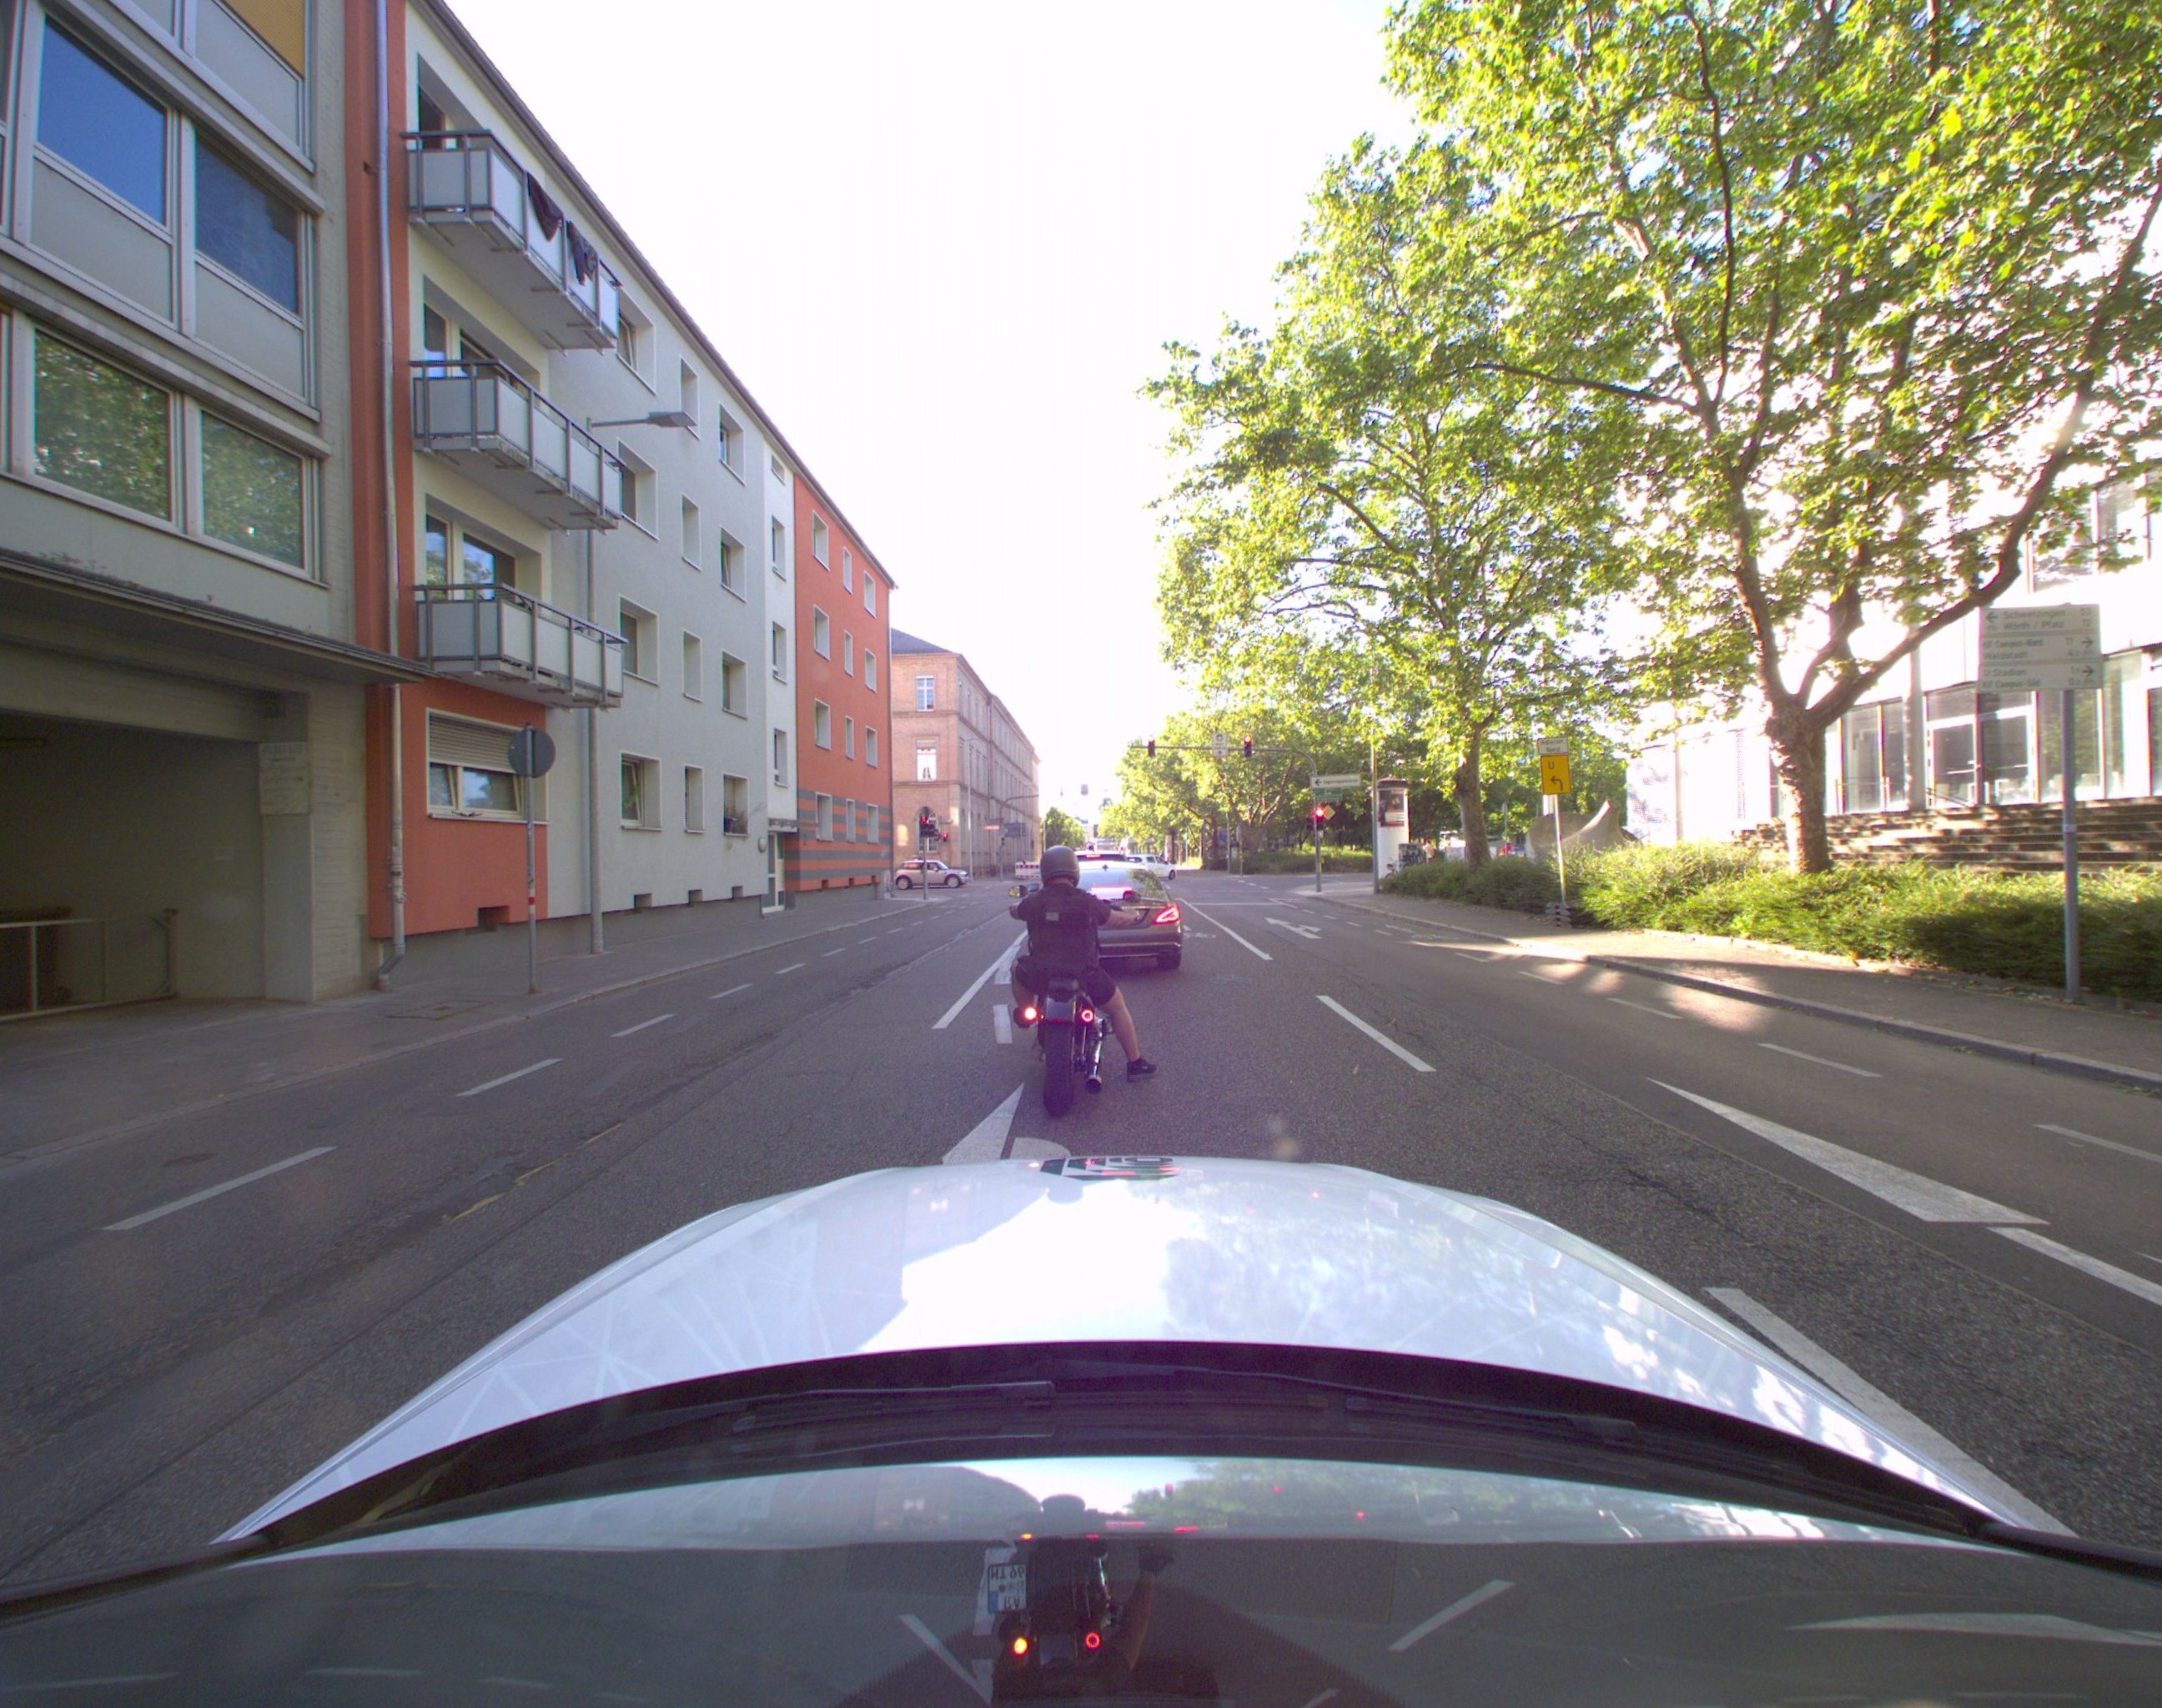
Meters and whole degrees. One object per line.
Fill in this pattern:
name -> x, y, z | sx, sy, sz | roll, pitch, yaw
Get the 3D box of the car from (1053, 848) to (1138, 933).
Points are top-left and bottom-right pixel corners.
car -> 0.322, 0.711, 17.892 | 1.606, 1.607, 4.329 | -1, 0, 1

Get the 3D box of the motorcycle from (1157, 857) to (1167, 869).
motorcycle -> 8.572, 0.970, 85.915 | 0.835, 1.245, 2.284 | -1, 0, 2

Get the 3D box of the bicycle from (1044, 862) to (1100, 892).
bicycle -> -0.368, 0.915, 32.089 | 2.135, 1.103, 0.710 | -3, -1, 36

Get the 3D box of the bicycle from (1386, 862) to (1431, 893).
bicycle -> 11.016, 0.794, 27.409 | 1.346, 1.023, 0.363 | -1, 0, 2

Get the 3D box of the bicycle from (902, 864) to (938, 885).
bicycle -> -8.967, 1.153, 45.371 | 1.829, 1.105, 0.611 | -1, 0, -3

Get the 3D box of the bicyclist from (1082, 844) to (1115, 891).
bicyclist -> 0.641, 0.492, 29.716 | 0.709, 1.692, 0.954 | -1, 0, -37

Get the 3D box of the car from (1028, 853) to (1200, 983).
car -> 0.258, 0.747, 11.722 | 1.943, 1.473, 4.355 | -1, 0, -5

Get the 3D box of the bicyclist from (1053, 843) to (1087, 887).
bicyclist -> -0.431, 0.443, 32.132 | 1.034, 1.695, 0.710 | -3, -1, 36

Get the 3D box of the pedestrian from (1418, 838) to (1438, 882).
pedestrian -> 14.916, 0.245, 35.010 | 0.549, 1.849, 0.594 | -1, 0, 3

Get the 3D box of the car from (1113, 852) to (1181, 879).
car -> 3.736, 0.629, 45.709 | 1.838, 1.486, 3.932 | -1, -1, 42

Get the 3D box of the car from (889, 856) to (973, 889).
car -> -7.500, 0.919, 40.935 | 3.887, 1.481, 1.825 | -2, 0, -4

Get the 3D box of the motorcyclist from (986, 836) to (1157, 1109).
motorcyclist -> -0.035, 0.703, 5.530 | 0.986, 1.597, 1.404 | -1, 0, 2

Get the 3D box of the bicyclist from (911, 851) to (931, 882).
bicyclist -> -8.897, 0.690, 45.369 | 0.973, 1.743, 0.609 | -1, 0, -3

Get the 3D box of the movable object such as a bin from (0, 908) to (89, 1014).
movable object such as a bin -> -11.314, 1.122, 8.685 | 0.593, 1.041, 0.703 | 0, -1, 1

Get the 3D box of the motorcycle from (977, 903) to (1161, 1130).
motorcycle -> -0.026, 0.962, 5.684 | 0.986, 1.078, 2.453 | -1, 0, 2

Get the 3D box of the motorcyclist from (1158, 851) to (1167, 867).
motorcyclist -> 8.561, 0.537, 85.963 | 0.835, 1.703, 1.181 | -1, 0, 2
